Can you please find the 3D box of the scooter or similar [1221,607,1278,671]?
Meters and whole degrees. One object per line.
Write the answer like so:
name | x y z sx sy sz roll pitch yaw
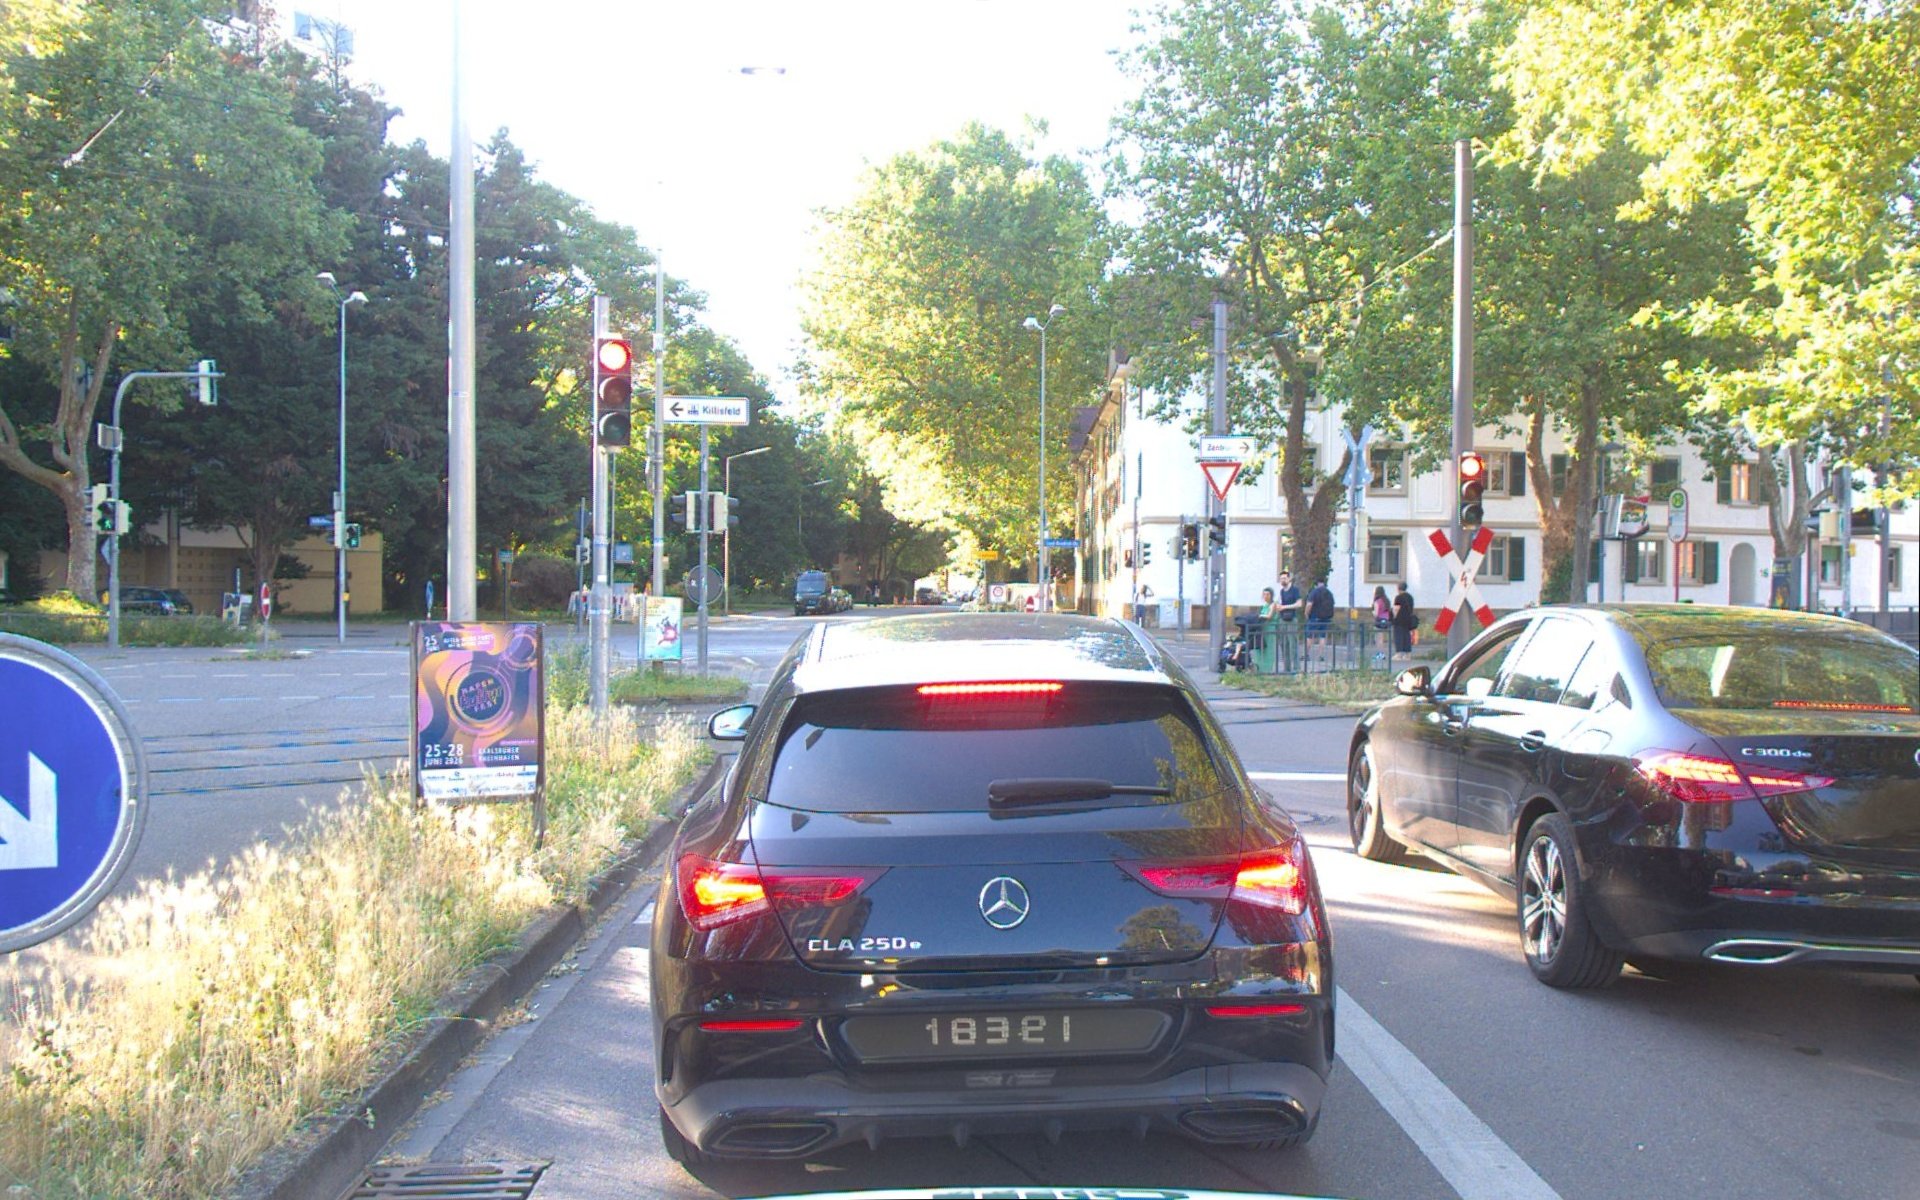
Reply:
scooter or similar | 5.272 0.703 30.157 0.812 1.124 0.808 1 0 -6

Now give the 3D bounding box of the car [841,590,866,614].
car | -8.126 0.134 126.276 1.698 1.796 3.970 1 0 -1

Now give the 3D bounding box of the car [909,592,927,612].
car | -3.994 0.192 158.401 1.698 1.796 4.018 1 0 -1

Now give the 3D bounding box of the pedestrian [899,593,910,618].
pedestrian | -4.357 0.443 129.952 0.692 1.951 0.837 1 -1 -11

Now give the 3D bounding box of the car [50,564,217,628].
car | -24.373 -0.120 48.851 3.902 1.805 2.001 1 0 7

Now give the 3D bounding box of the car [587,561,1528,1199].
car | 0.207 0.664 5.298 1.851 1.475 4.001 1 2 0

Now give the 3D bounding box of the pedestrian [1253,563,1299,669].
pedestrian | 5.914 0.307 30.975 0.669 1.951 0.706 1 -1 -5

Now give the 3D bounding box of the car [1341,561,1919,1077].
car | 3.128 0.640 7.304 1.851 1.516 4.382 1 2 0

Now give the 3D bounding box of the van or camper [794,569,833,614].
van or camper | -8.787 -0.493 99.611 1.953 2.586 4.650 1 0 -1

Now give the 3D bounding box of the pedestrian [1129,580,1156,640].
pedestrian | 5.975 0.325 54.206 0.691 1.951 0.838 1 -1 -4

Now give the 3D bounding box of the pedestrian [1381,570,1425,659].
pedestrian | 9.860 0.316 36.813 0.691 1.951 0.838 1 -1 -4

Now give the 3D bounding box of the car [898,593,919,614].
car | -4.521 0.336 145.488 1.698 1.796 4.018 1 0 -1

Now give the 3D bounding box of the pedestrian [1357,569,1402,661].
pedestrian | 9.070 0.328 35.801 0.691 1.951 0.838 1 -1 -4

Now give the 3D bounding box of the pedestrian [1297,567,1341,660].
pedestrian | 7.688 0.290 35.424 0.691 1.951 0.838 1 -1 -4

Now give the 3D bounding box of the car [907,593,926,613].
car | -3.946 0.303 150.318 1.698 1.796 4.018 1 0 -1

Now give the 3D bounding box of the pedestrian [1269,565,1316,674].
pedestrian | 6.071 0.360 30.205 0.669 1.951 0.707 1 -1 -3
